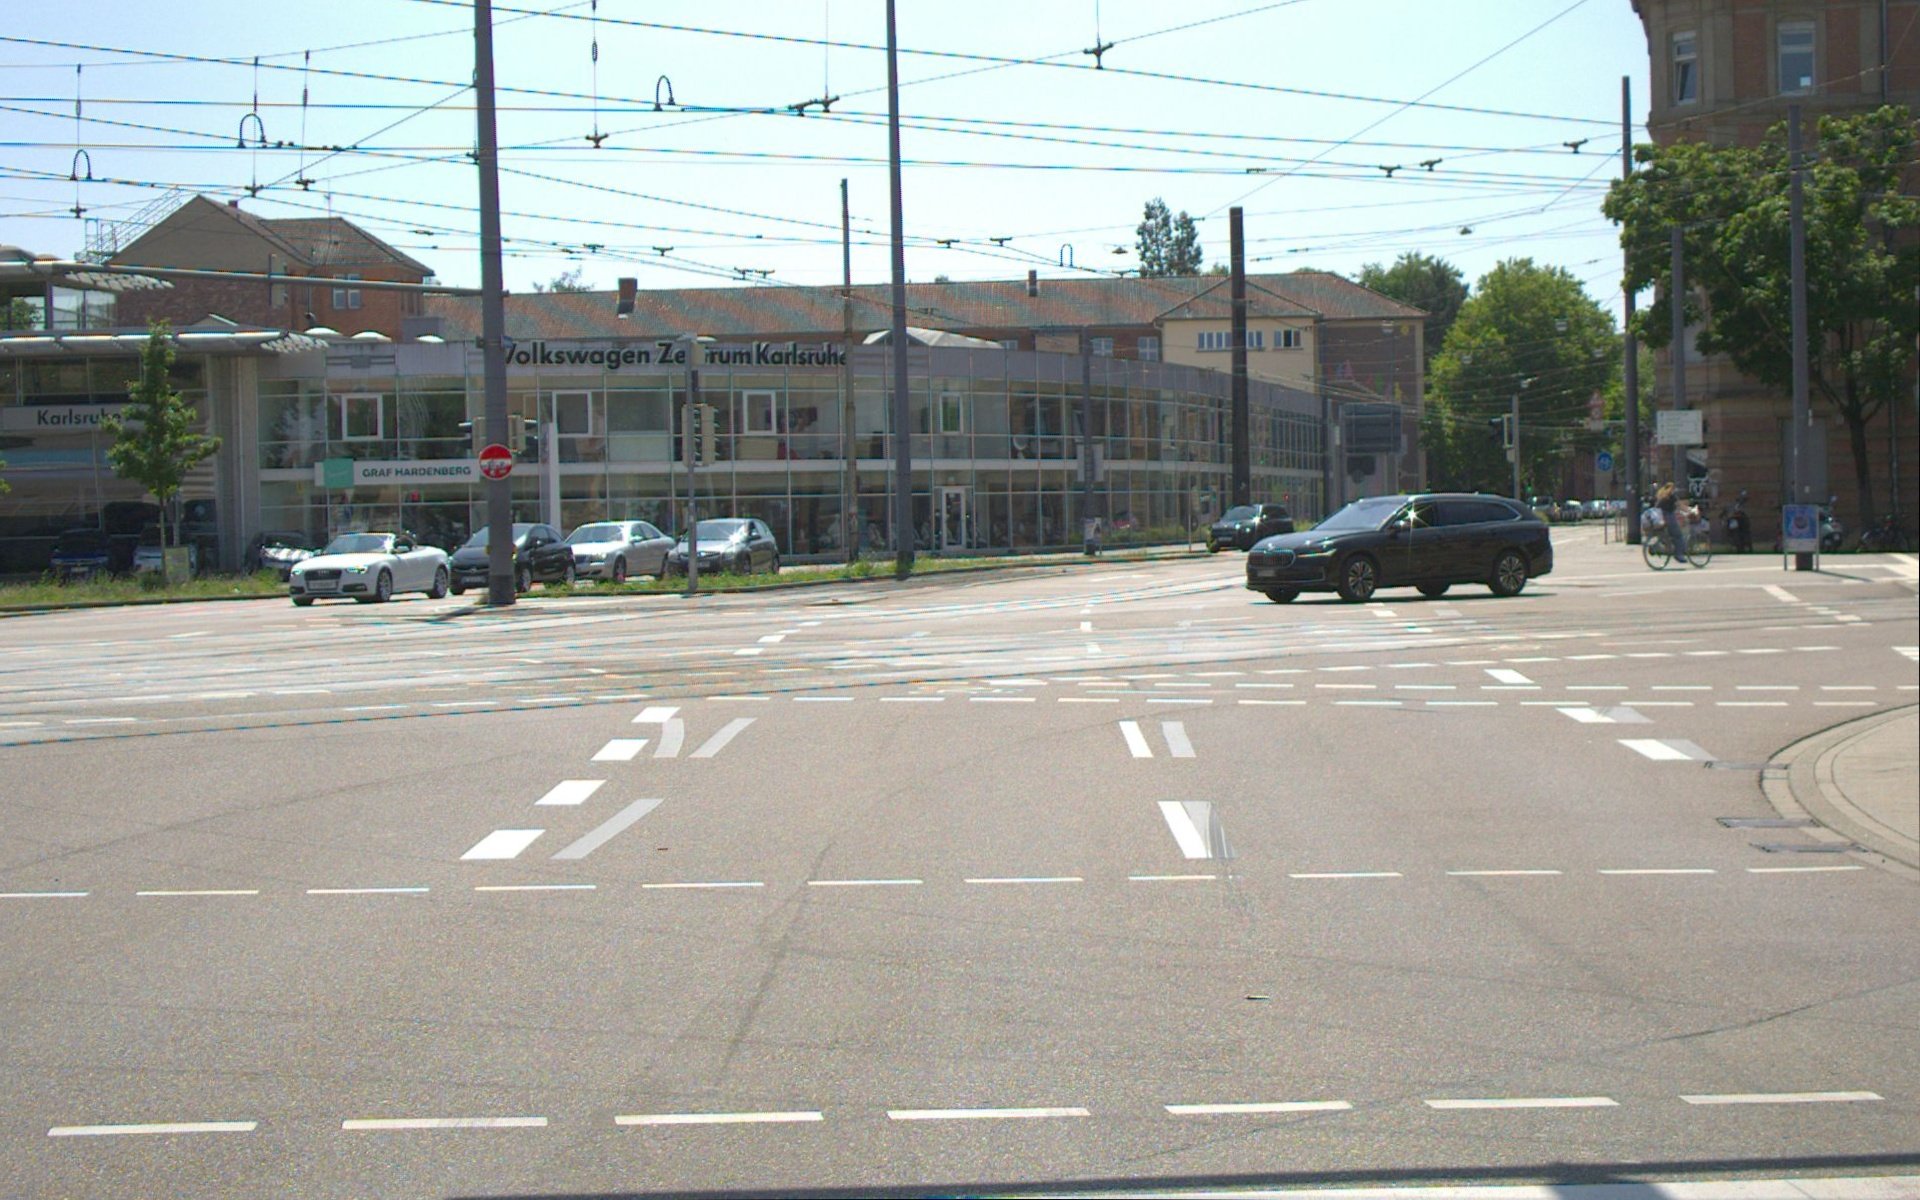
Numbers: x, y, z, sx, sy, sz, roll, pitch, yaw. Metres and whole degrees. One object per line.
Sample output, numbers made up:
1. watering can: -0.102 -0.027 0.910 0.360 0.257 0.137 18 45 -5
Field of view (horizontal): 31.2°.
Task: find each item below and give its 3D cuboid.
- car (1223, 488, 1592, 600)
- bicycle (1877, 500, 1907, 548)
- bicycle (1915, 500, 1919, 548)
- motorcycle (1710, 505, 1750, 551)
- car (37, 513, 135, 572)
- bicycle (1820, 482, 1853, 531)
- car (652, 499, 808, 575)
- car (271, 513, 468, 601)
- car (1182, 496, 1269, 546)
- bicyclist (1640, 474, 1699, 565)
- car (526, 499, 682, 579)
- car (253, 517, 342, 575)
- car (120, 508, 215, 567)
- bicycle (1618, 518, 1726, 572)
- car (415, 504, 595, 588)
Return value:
1. car: 6.352 -0.812 48.830 4.829 1.460 2.001 -2 1 -23
2. bicycle: 22.148 -1.805 81.712 0.551 1.116 1.819 -1 1 12
3. bicycle: 22.961 -1.815 81.572 0.551 1.116 1.819 -1 1 15
4. motorcycle: 18.416 -1.729 82.226 0.580 1.071 1.946 -1 1 3
5. car: -26.049 -1.690 102.587 1.920 1.701 4.000 1 1 -1
6. bicycle: 21.073 -2.232 82.644 0.442 1.142 2.093 1 1 5
7. car: -5.168 -1.448 77.945 1.995 1.631 4.843 -1 2 16
8. car: -11.430 -0.864 66.927 2.077 1.574 4.844 -1 2 12
9. car: 9.309 -2.774 120.255 2.080 1.677 4.843 -1 2 16
10. bicyclist: 14.221 -1.602 68.943 1.060 1.802 0.479 1 0 -25
11. car: -8.147 -1.426 79.047 1.995 1.733 4.540 -1 2 16
12. car: -19.816 -1.607 102.955 1.920 1.701 4.000 1 1 -1
13. car: -23.631 -1.853 102.616 1.920 1.701 4.000 1 1 -1
14. bicycle: 14.292 -1.094 69.004 2.105 1.049 0.693 1 0 -26
15. car: -9.618 -1.173 73.087 1.995 1.694 4.843 -1 2 16
